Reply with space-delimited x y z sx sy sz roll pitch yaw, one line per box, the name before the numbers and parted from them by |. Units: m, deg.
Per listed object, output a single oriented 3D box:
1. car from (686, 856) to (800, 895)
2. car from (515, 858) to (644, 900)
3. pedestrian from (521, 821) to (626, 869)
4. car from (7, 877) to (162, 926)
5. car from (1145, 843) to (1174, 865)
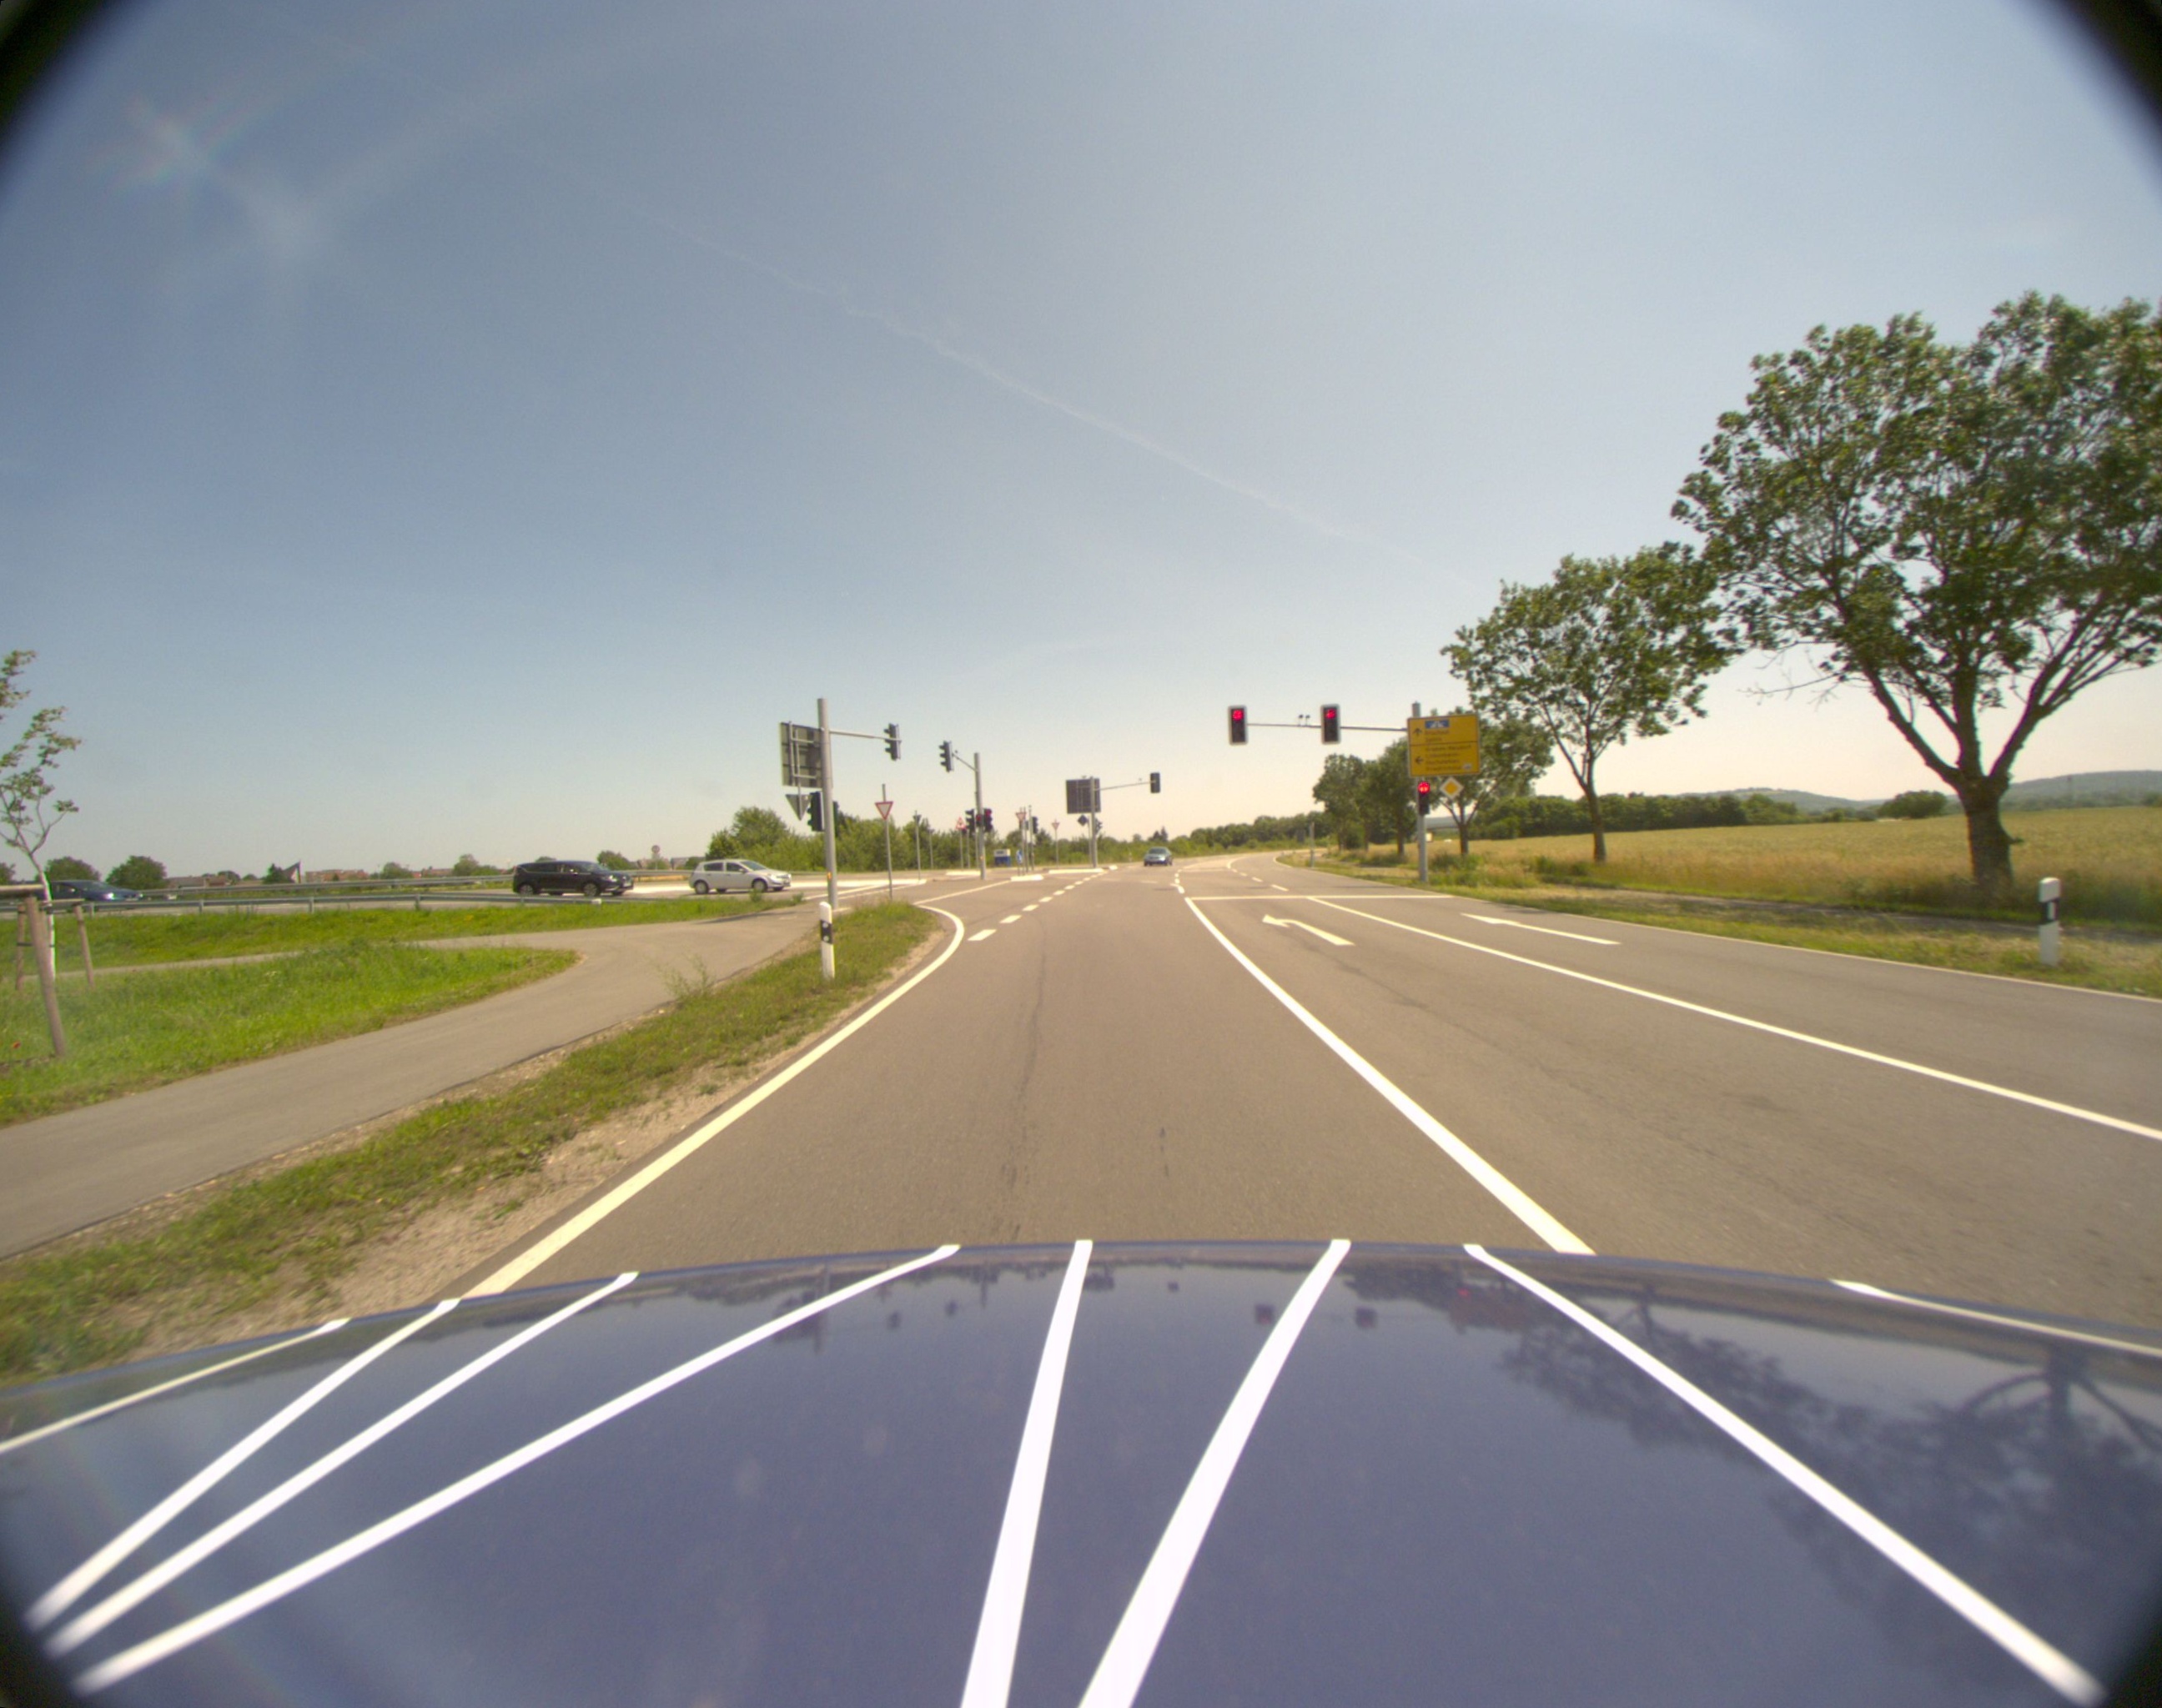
car | -14.500 0.919 32.699 4.147 1.451 1.661 -2 1 6
car | -22.041 1.072 33.458 4.521 1.631 1.814 -2 2 6
pedestrian | -23.034 -0.419 34.697 1.998 2.002 3.999 -1 1 1
car | -44.503 2.092 34.039 3.919 1.798 1.919 -3 1 -7
car | 6.002 -0.010 57.645 1.655 1.557 4.004 -1 0 13
